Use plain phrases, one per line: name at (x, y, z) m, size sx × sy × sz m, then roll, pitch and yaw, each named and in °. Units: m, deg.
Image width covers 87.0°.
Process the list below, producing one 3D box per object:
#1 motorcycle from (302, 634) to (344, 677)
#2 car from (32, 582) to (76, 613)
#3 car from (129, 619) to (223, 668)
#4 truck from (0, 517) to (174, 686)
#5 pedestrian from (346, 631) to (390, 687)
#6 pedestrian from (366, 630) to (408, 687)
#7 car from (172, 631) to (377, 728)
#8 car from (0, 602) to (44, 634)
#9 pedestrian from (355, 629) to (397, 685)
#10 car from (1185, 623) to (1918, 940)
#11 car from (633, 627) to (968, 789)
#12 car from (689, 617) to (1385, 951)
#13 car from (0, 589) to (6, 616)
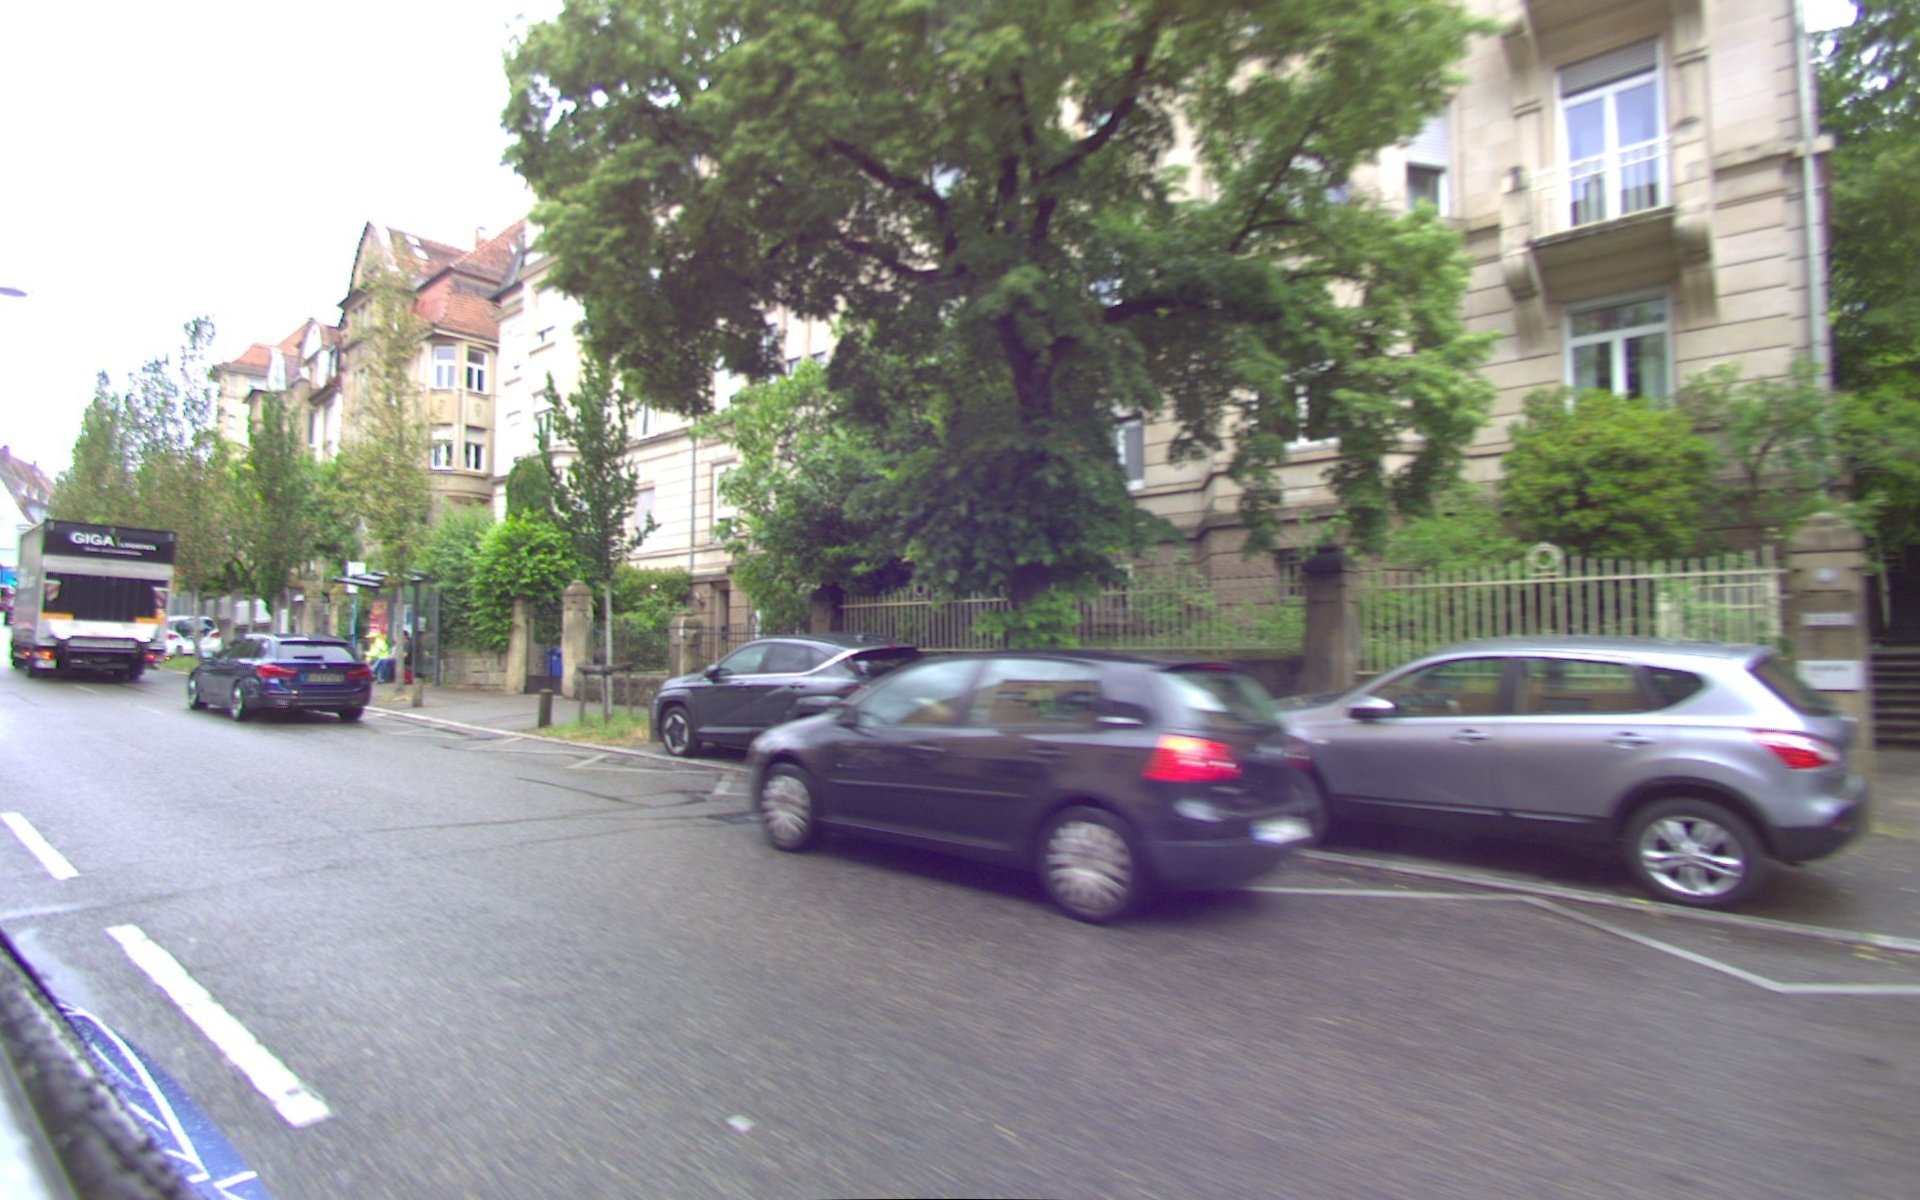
motorcycle at (-19.361, 1.674, 30.761) m, size 1.763 × 1.246 × 0.648 m, roll 0°, pitch -3°, yaw 45°
car at (-80.214, -0.190, 89.625) m, size 2.102 × 2.525 × 5.422 m, roll 5°, pitch -4°, yaw -35°
car at (-27.750, 1.490, 35.764) m, size 4.298 × 1.571 × 1.724 m, roll 0°, pitch 0°, yaw 39°
truck at (-23.982, 0.154, 27.486) m, size 9.309 × 3.884 × 2.618 m, roll -1°, pitch -5°, yaw 44°
pedestrian at (-15.864, 1.570, 27.123) m, size 0.759 × 1.443 × 0.758 m, roll 0°, pitch -3°, yaw 42°
pedestrian at (-14.950, 1.523, 26.407) m, size 0.649 × 1.443 × 0.757 m, roll 0°, pitch -3°, yaw 43°
car at (-12.316, 1.357, 18.066) m, size 4.744 × 1.479 × 1.754 m, roll -1°, pitch -5°, yaw 41°
car at (-51.662, 1.002, 55.703) m, size 1.723 × 1.529 × 3.873 m, roll 7°, pitch -4°, yaw -43°
pedestrian at (-15.439, 1.509, 26.754) m, size 0.649 × 1.443 × 0.757 m, roll 0°, pitch -3°, yaw 43°
car at (3.982, 0.996, 7.391) m, size 4.301 × 1.571 × 1.723 m, roll 0°, pitch 0°, yaw 42°
car at (-2.118, 1.201, 12.744) m, size 4.297 × 1.571 × 1.725 m, roll 0°, pitch 1°, yaw 38°
car at (0.213, 0.981, 6.873) m, size 4.589 × 1.529 × 1.753 m, roll -3°, pitch -5°, yaw 42°
car at (-65.303, 0.118, 67.980) m, size 1.632 × 1.721 × 4.119 m, roll 6°, pitch -3°, yaw -42°
